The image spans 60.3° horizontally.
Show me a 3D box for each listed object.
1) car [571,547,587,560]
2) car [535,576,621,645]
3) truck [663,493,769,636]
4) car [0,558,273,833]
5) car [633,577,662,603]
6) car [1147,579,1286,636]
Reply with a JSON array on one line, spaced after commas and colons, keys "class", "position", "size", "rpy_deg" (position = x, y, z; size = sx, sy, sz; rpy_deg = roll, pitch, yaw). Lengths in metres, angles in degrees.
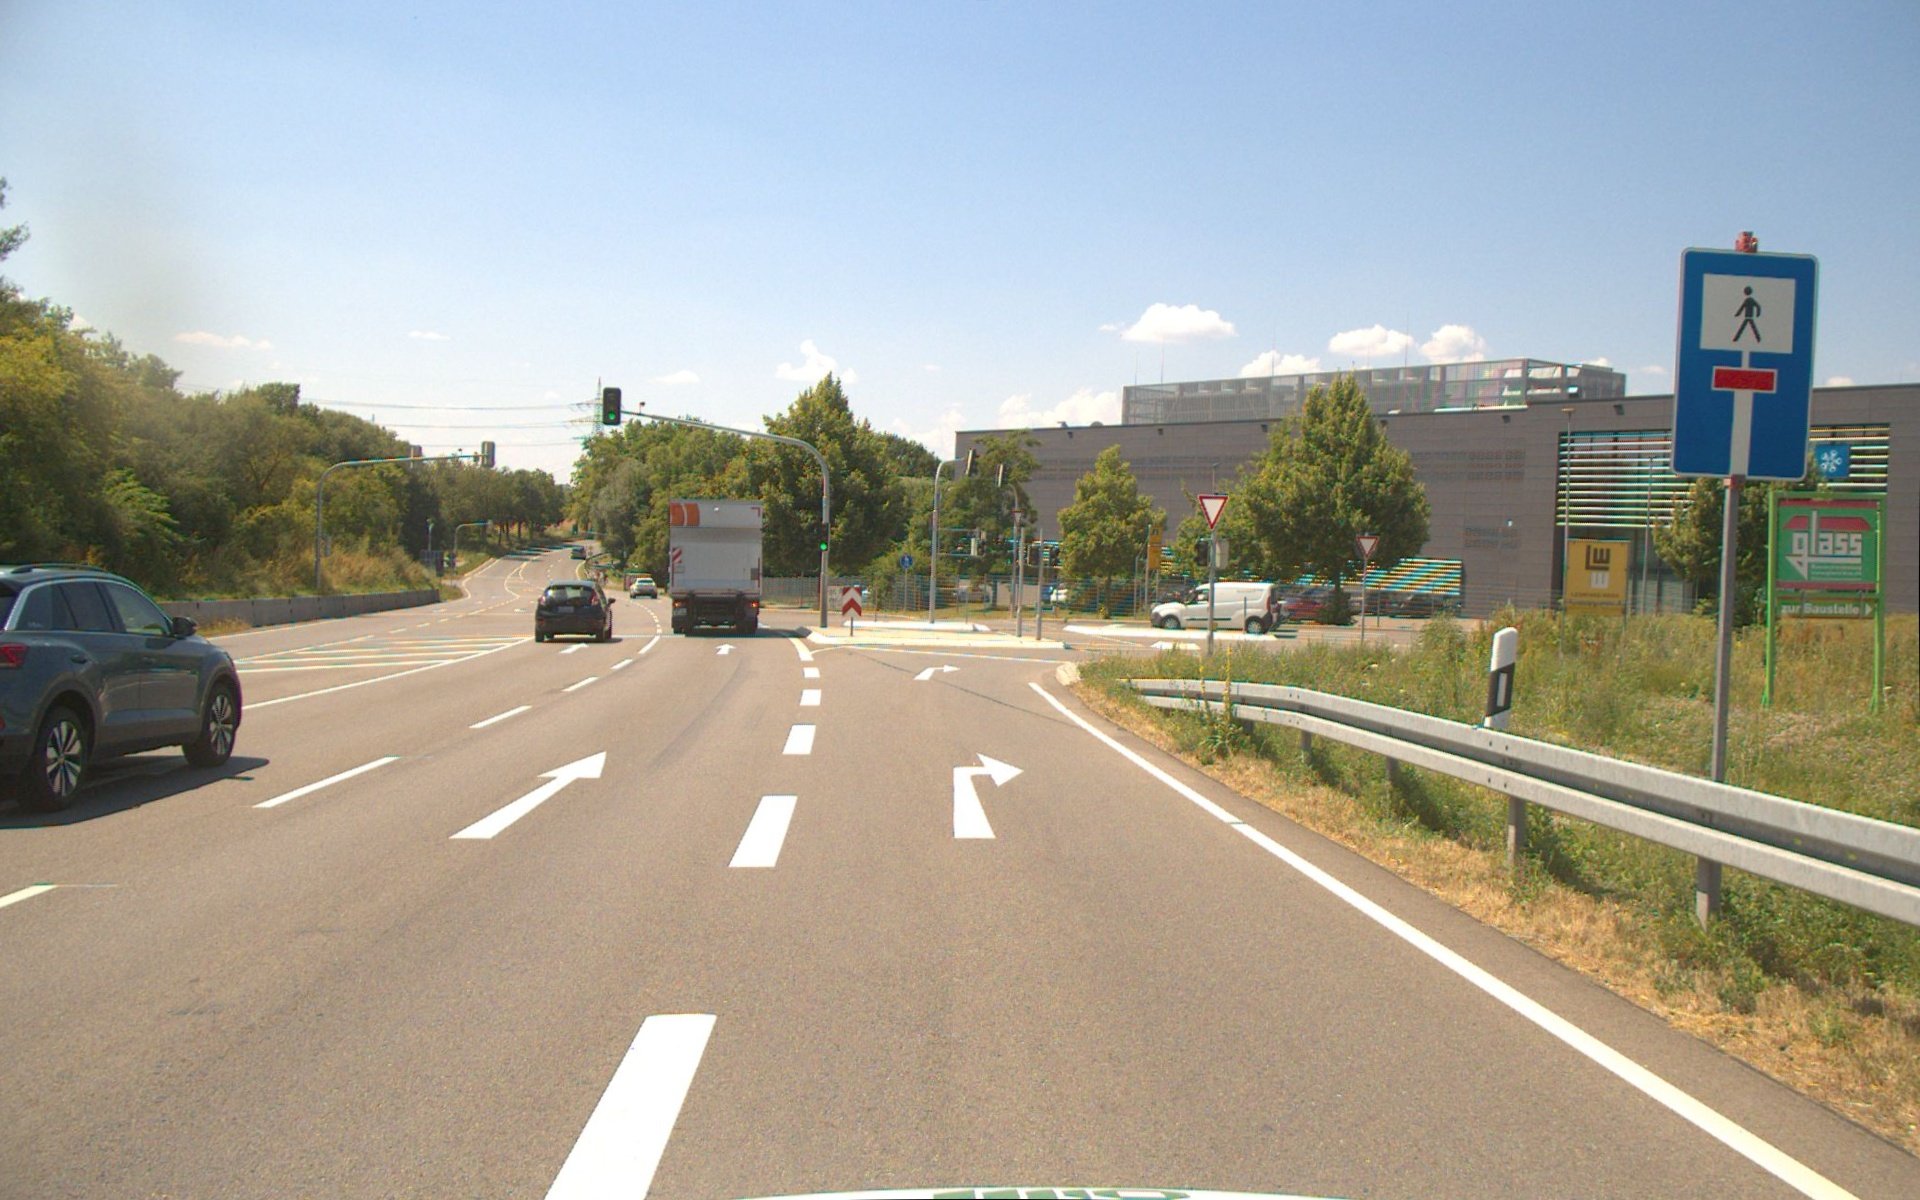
[{"class": "car", "position": [-56.791, -6.914, 246.713], "size": [1.956, 1.713, 3.992], "rpy_deg": [1, 0, -9]}, {"class": "car", "position": [-9.514, 0.233, 41.440], "size": [1.621, 1.519, 4.202], "rpy_deg": [1, 2, -7]}, {"class": "truck", "position": [-7.206, -1.061, 48.891], "size": [2.751, 3.775, 9.091], "rpy_deg": [1, 1, -8]}, {"class": "car", "position": [-6.607, 0.534, 11.697], "size": [1.798, 1.614, 4.389], "rpy_deg": [0, 1, -2]}, {"class": "car", "position": [-23.159, -0.729, 122.484], "size": [1.911, 1.693, 3.987], "rpy_deg": [4, 1, -13]}, {"class": "car", "position": [9.334, 0.245, 60.131], "size": [4.646, 1.966, 2.154], "rpy_deg": [1, 0, 19]}]
